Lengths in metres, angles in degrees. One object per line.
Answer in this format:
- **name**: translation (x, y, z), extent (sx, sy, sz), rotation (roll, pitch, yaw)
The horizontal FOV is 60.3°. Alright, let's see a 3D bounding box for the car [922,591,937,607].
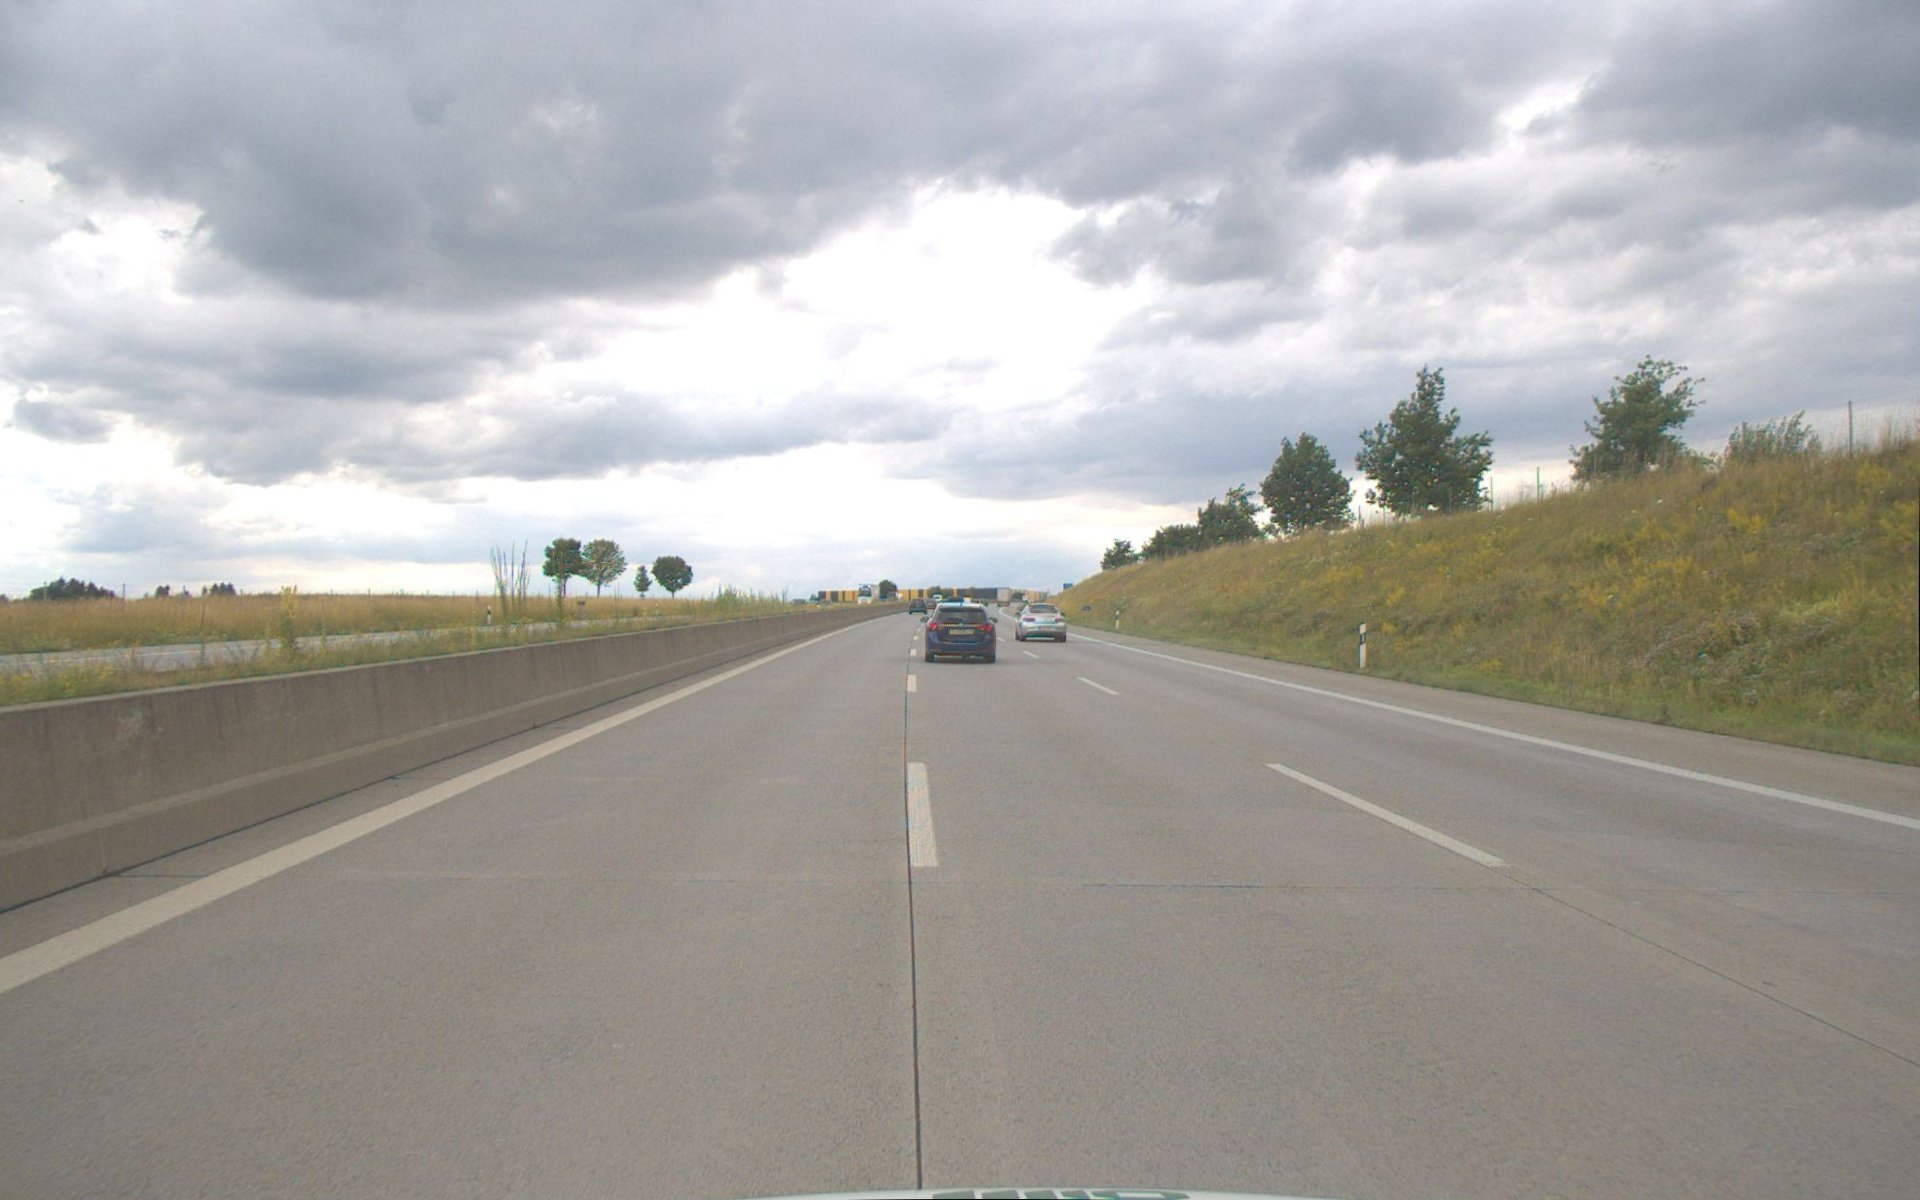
- **car**: translation (-4.152, -0.075, 223.285), extent (1.953, 2.049, 3.998), rotation (1, -1, -2)

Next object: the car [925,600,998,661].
- **car**: translation (0.052, 0.746, 41.558), extent (1.738, 1.438, 4.000), rotation (0, 0, 0)

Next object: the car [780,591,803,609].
- **car**: translation (-16.985, -0.002, 167.264), extent (1.953, 1.713, 4.062), rotation (0, 0, -1)

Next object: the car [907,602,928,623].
- **car**: translation (-4.387, 1.278, 169.371), extent (2.005, 2.049, 3.998), rotation (1, -1, -2)

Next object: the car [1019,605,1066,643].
- **car**: translation (3.167, 0.910, 63.786), extent (1.751, 1.428, 4.222), rotation (0, 0, 2)

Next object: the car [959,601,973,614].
- **car**: translation (0.928, 1.206, 260.655), extent (1.952, 2.049, 4.001), rotation (1, -1, 2)

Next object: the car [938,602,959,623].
- **car**: translation (-1.158, 1.254, 168.265), extent (1.953, 2.049, 3.998), rotation (1, -1, -2)
